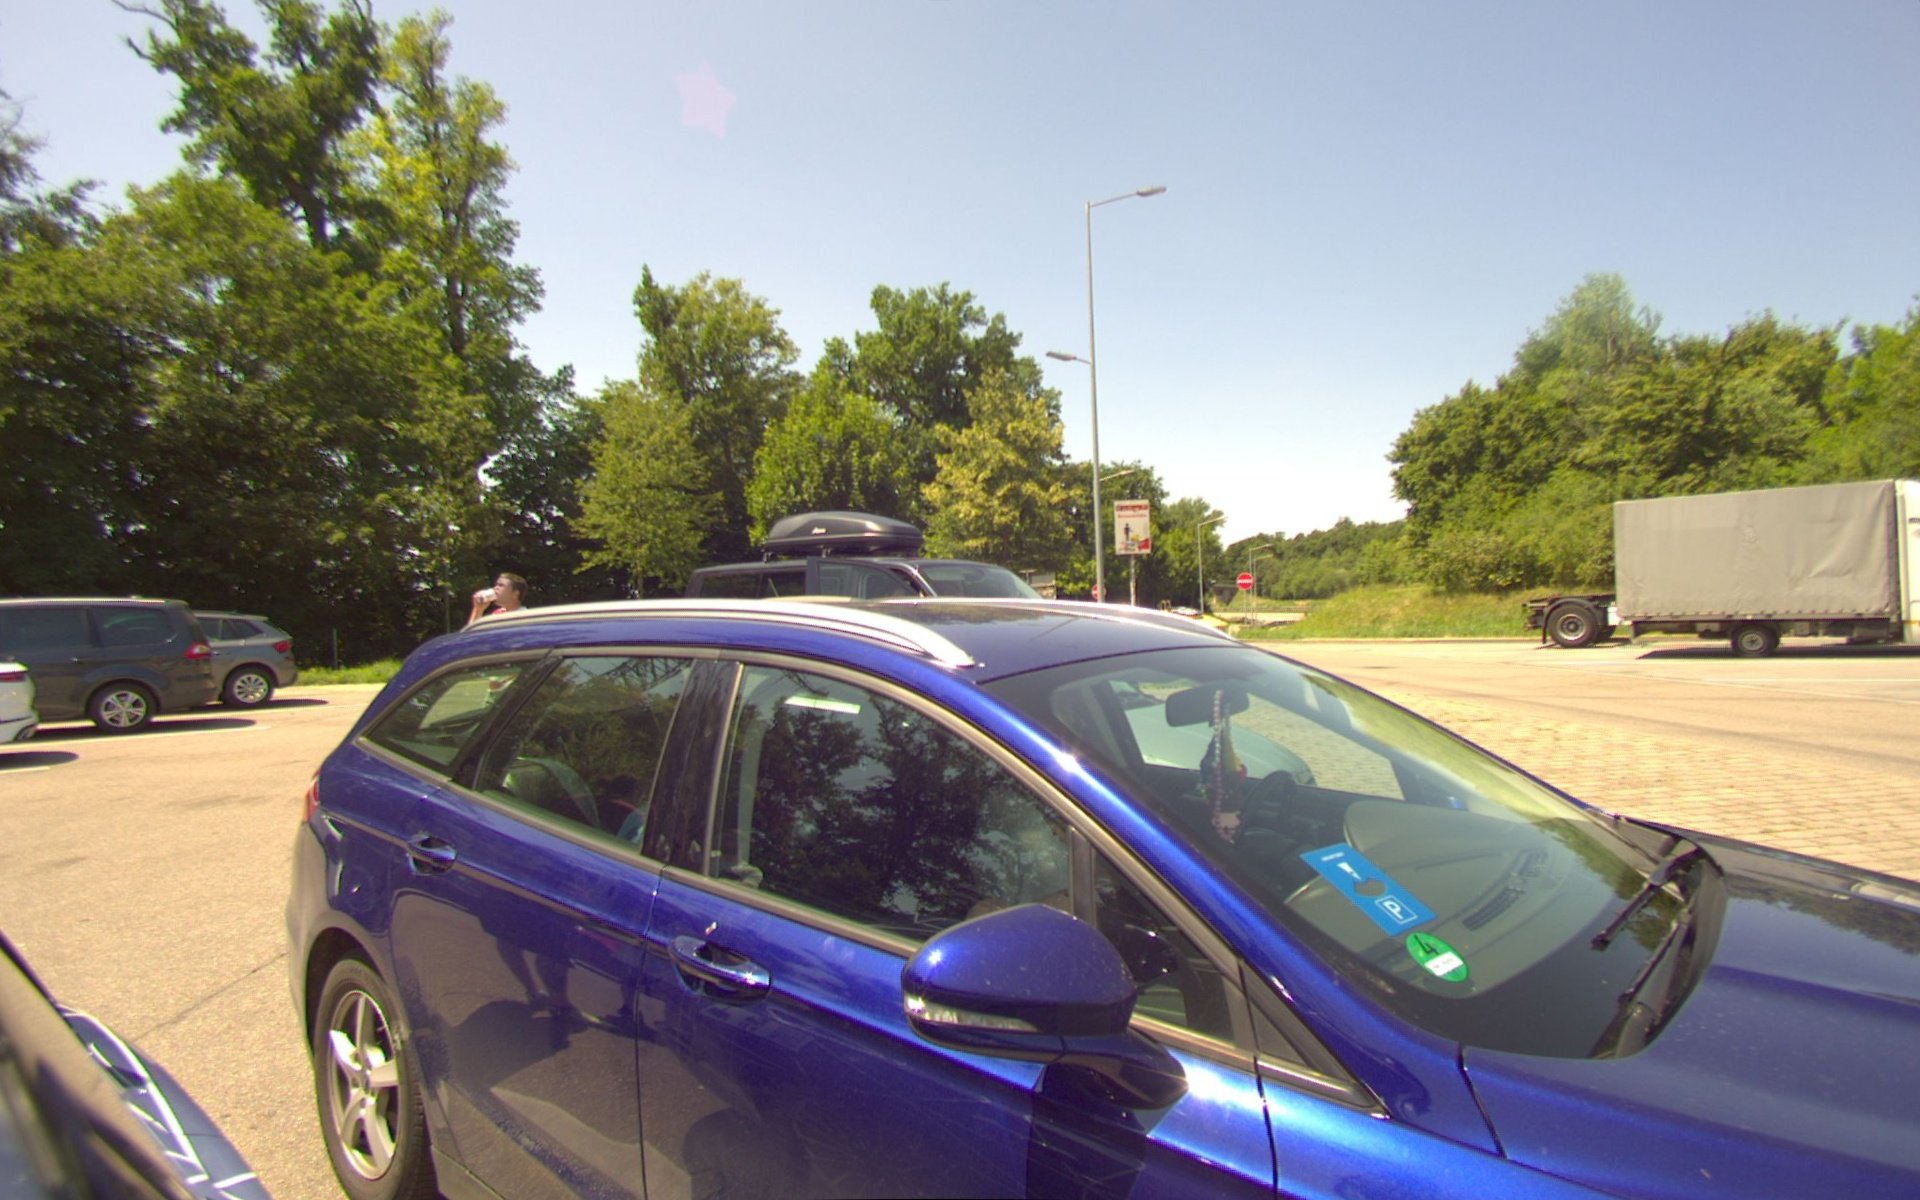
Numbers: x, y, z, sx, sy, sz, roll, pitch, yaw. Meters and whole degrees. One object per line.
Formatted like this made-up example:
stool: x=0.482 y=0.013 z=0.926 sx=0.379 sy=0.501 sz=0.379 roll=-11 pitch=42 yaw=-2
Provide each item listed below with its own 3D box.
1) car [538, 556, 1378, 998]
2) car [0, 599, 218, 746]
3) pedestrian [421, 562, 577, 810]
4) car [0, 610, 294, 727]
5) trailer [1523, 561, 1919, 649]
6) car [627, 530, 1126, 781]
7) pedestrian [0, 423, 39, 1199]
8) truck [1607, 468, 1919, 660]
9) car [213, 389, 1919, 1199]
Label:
car: x=-0.341 y=0.670 z=5.614 sx=4.569 sy=1.517 sz=1.735 roll=-3 pitch=0 yaw=40
car: x=-11.651 y=0.866 z=12.659 sx=3.767 sy=1.708 sz=1.654 roll=-1 pitch=0 yaw=-38
pedestrian: x=-3.509 y=0.615 z=7.728 sx=0.752 sy=1.767 sz=0.777 roll=-1 pitch=0 yaw=29
car: x=-12.643 y=0.971 z=15.666 sx=3.767 sy=1.572 sz=1.654 roll=-1 pitch=0 yaw=-38
trailer: x=17.685 y=0.163 z=23.114 sx=8.098 sy=1.638 sz=2.187 roll=-4 pitch=-1 yaw=41
car: x=-0.912 y=0.499 z=9.662 sx=4.558 sy=1.912 sz=1.740 roll=-3 pitch=0 yaw=32
pedestrian: x=-2.747 y=0.521 z=2.246 sx=0.905 sy=1.919 sz=0.816 roll=-1 pitch=0 yaw=-33
truck: x=16.761 y=-0.643 z=19.016 sx=7.274 sy=3.269 sz=2.678 roll=-4 pitch=-1 yaw=42
car: x=0.214 y=0.635 z=2.077 sx=4.569 sy=1.482 sz=1.735 roll=-3 pitch=0 yaw=40
